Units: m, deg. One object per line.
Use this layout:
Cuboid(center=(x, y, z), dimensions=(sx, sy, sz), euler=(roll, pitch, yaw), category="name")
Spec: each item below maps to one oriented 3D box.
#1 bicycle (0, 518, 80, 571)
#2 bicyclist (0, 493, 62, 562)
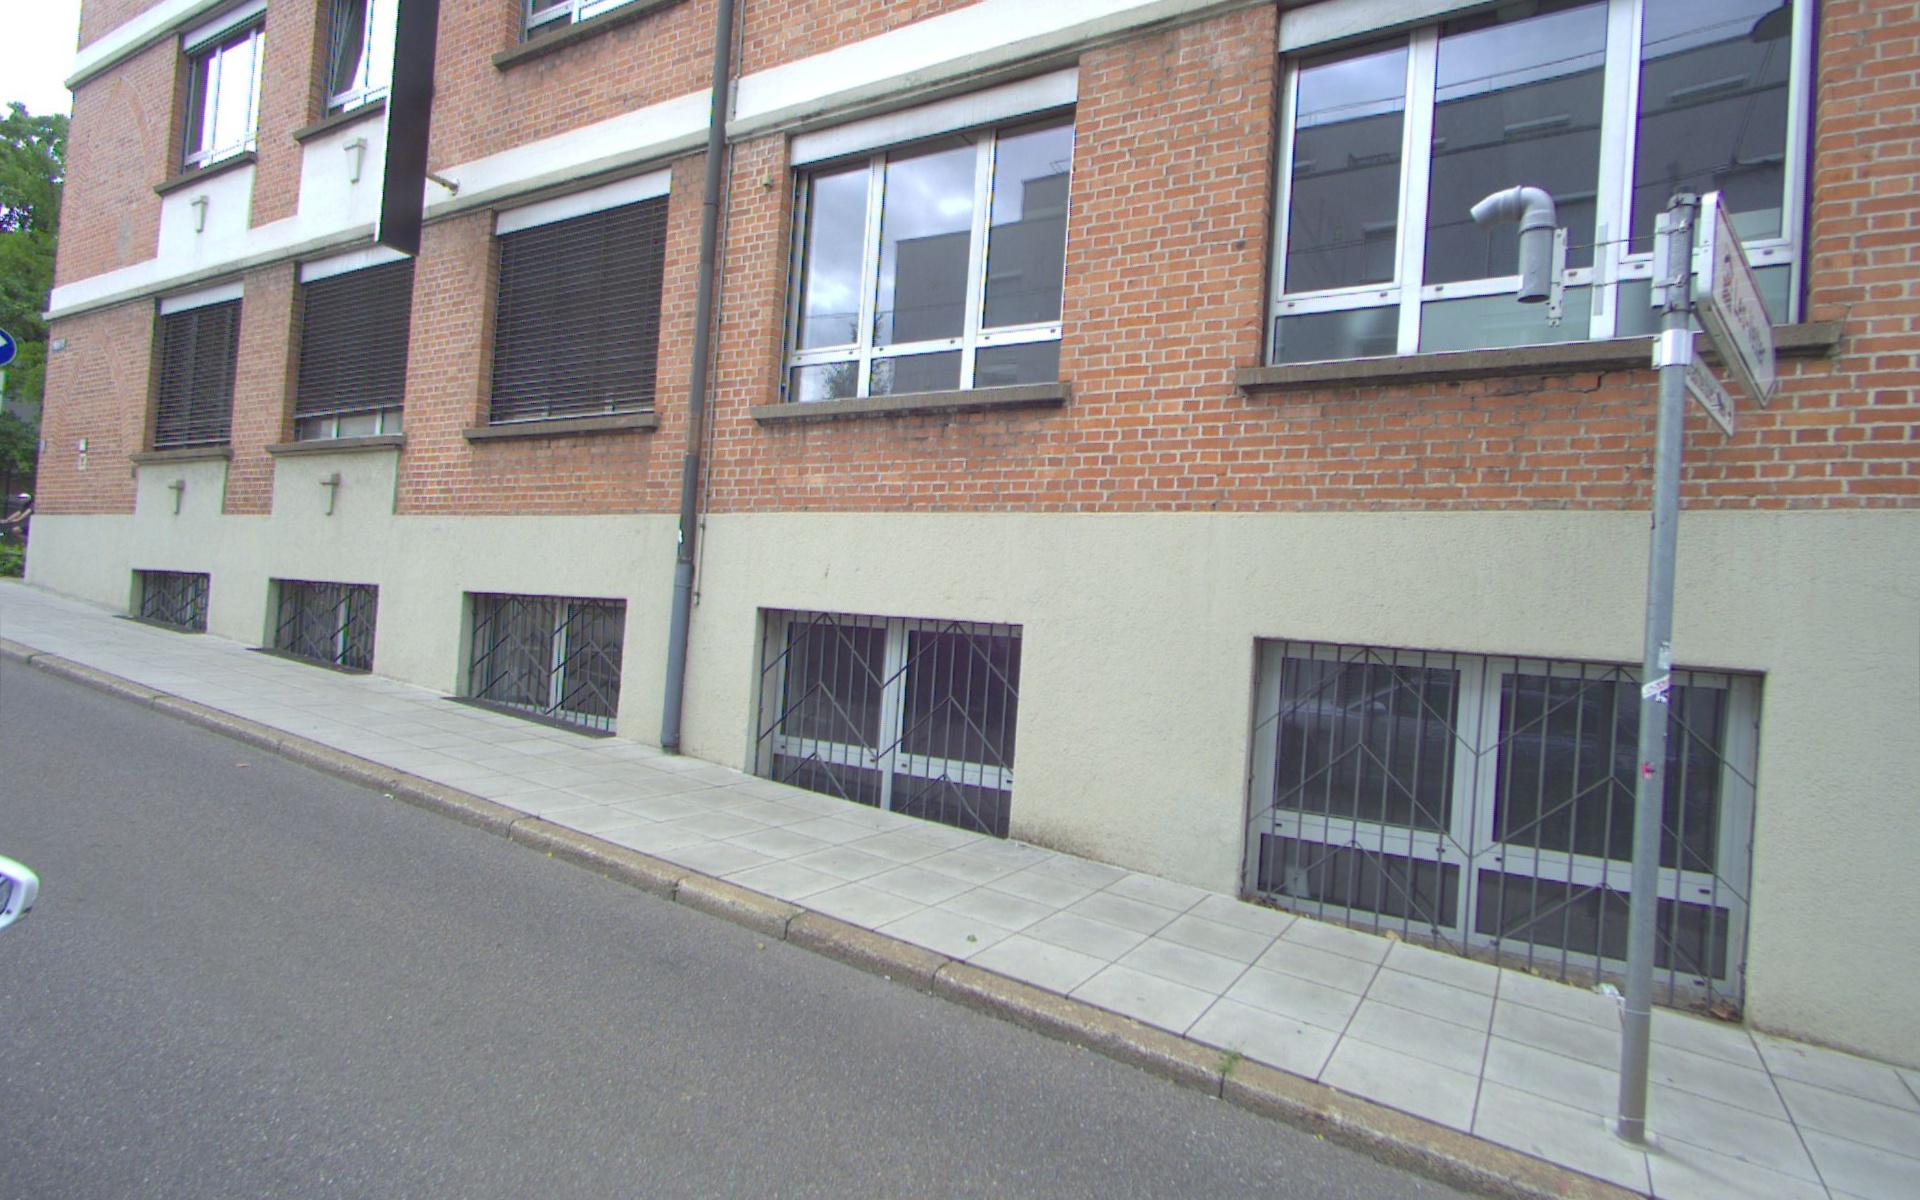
Cuboid(center=(-23.033, -1.385, 24.725), dimensions=(0.690, 1.093, 1.913), euler=(7, -2, 20), category="bicycle")
Cuboid(center=(-22.960, -1.769, 24.820), dimensions=(0.693, 1.537, 0.813), euler=(7, -1, 21), category="bicyclist")
